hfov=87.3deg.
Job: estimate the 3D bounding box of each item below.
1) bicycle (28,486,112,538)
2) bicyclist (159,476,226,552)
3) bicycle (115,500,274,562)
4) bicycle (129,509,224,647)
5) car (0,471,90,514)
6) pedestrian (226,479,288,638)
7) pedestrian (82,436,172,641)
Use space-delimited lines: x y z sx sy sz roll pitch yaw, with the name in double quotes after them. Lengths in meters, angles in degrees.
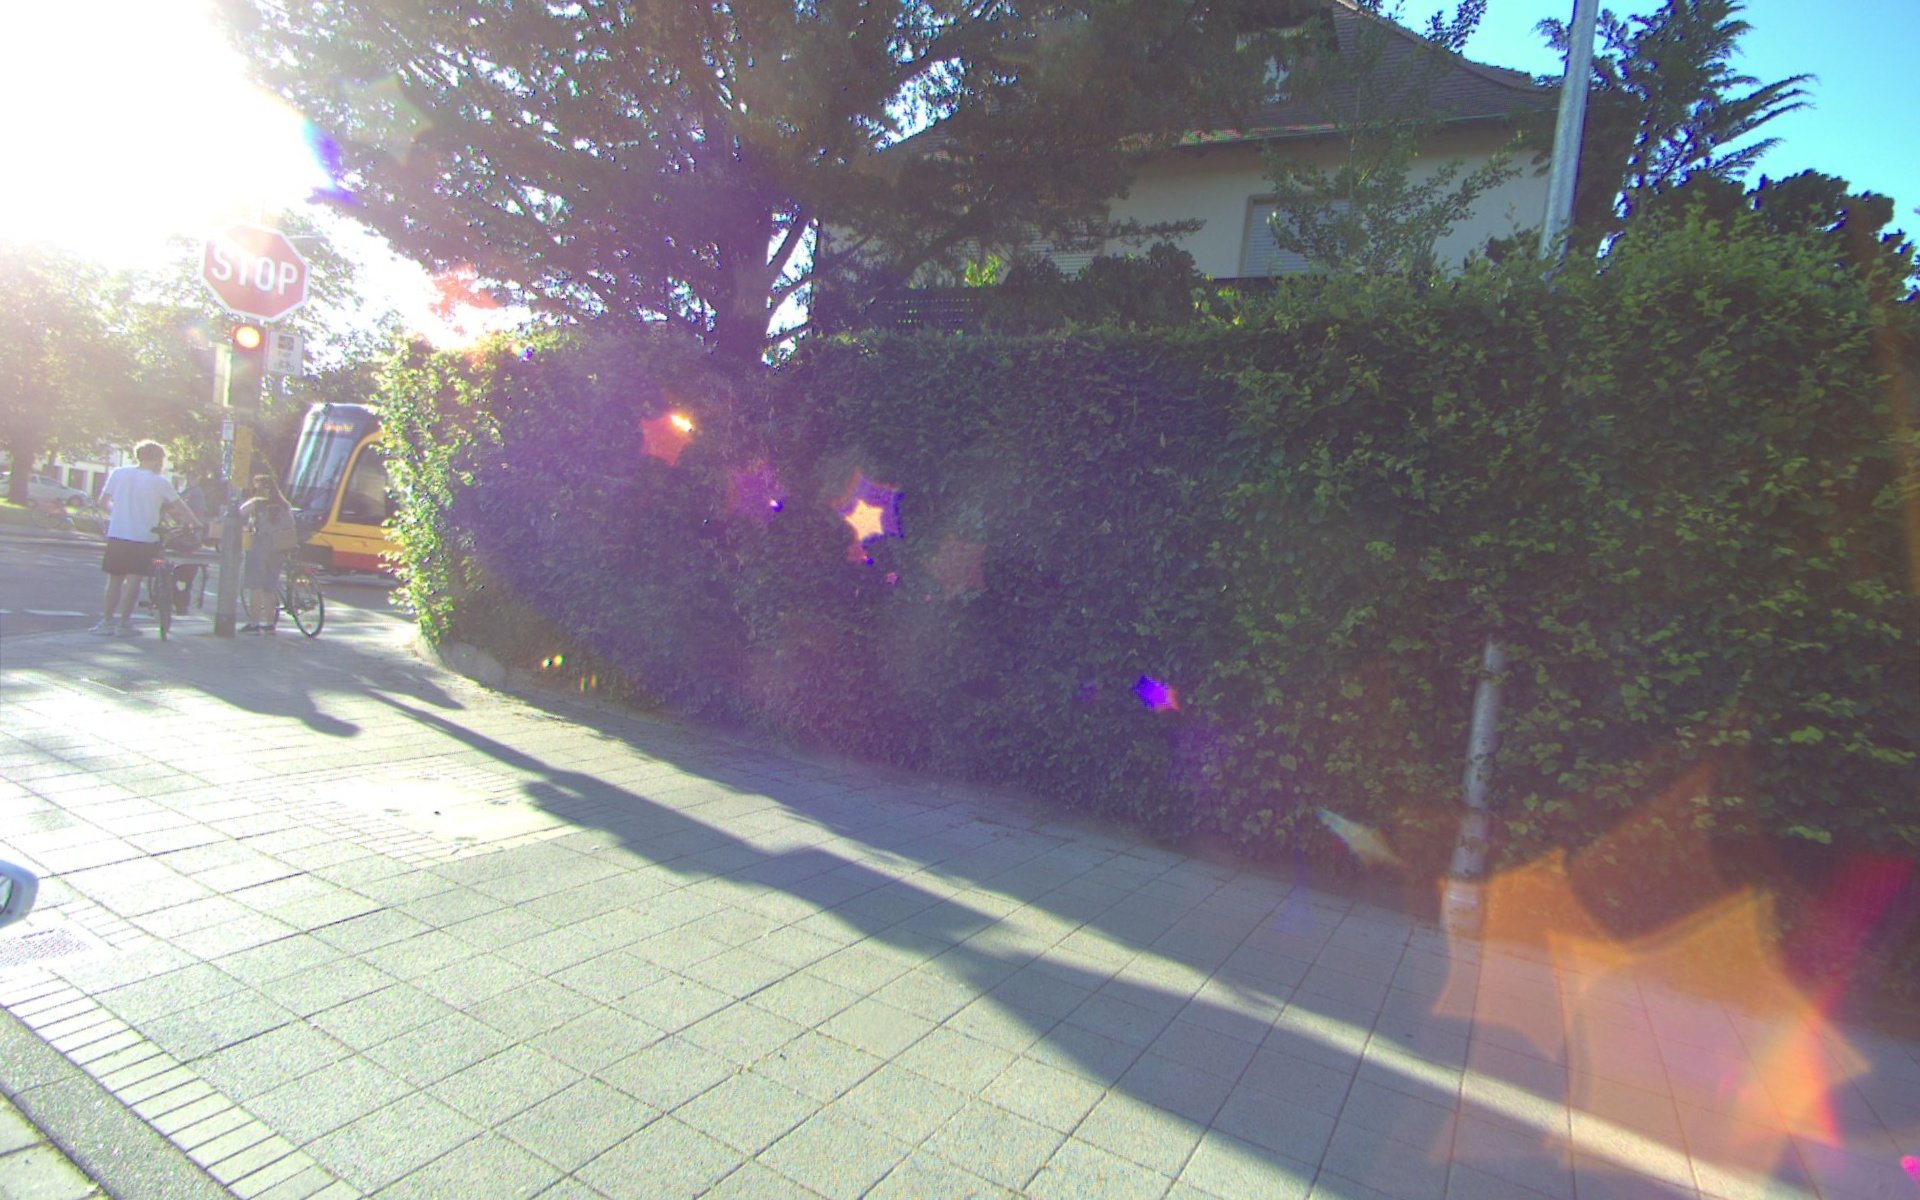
-23.242 -2.298 26.289 0.460 1.103 1.520 11 3 39 "bicycle"
-19.398 -2.158 25.416 0.863 1.745 1.141 7 2 44 "bicyclist"
-19.358 -1.725 25.515 0.863 1.176 3.065 7 1 44 "bicycle"
-7.746 -0.259 9.992 0.569 1.198 1.886 8 -1 -37 "bicycle"
-46.419 -5.403 50.404 1.497 1.542 3.933 6 -2 25 "car"
-7.376 -0.433 10.555 0.347 1.604 0.458 8 -1 -37 "pedestrian"
-8.113 -0.586 9.811 0.624 1.893 0.765 2 5 -39 "pedestrian"
